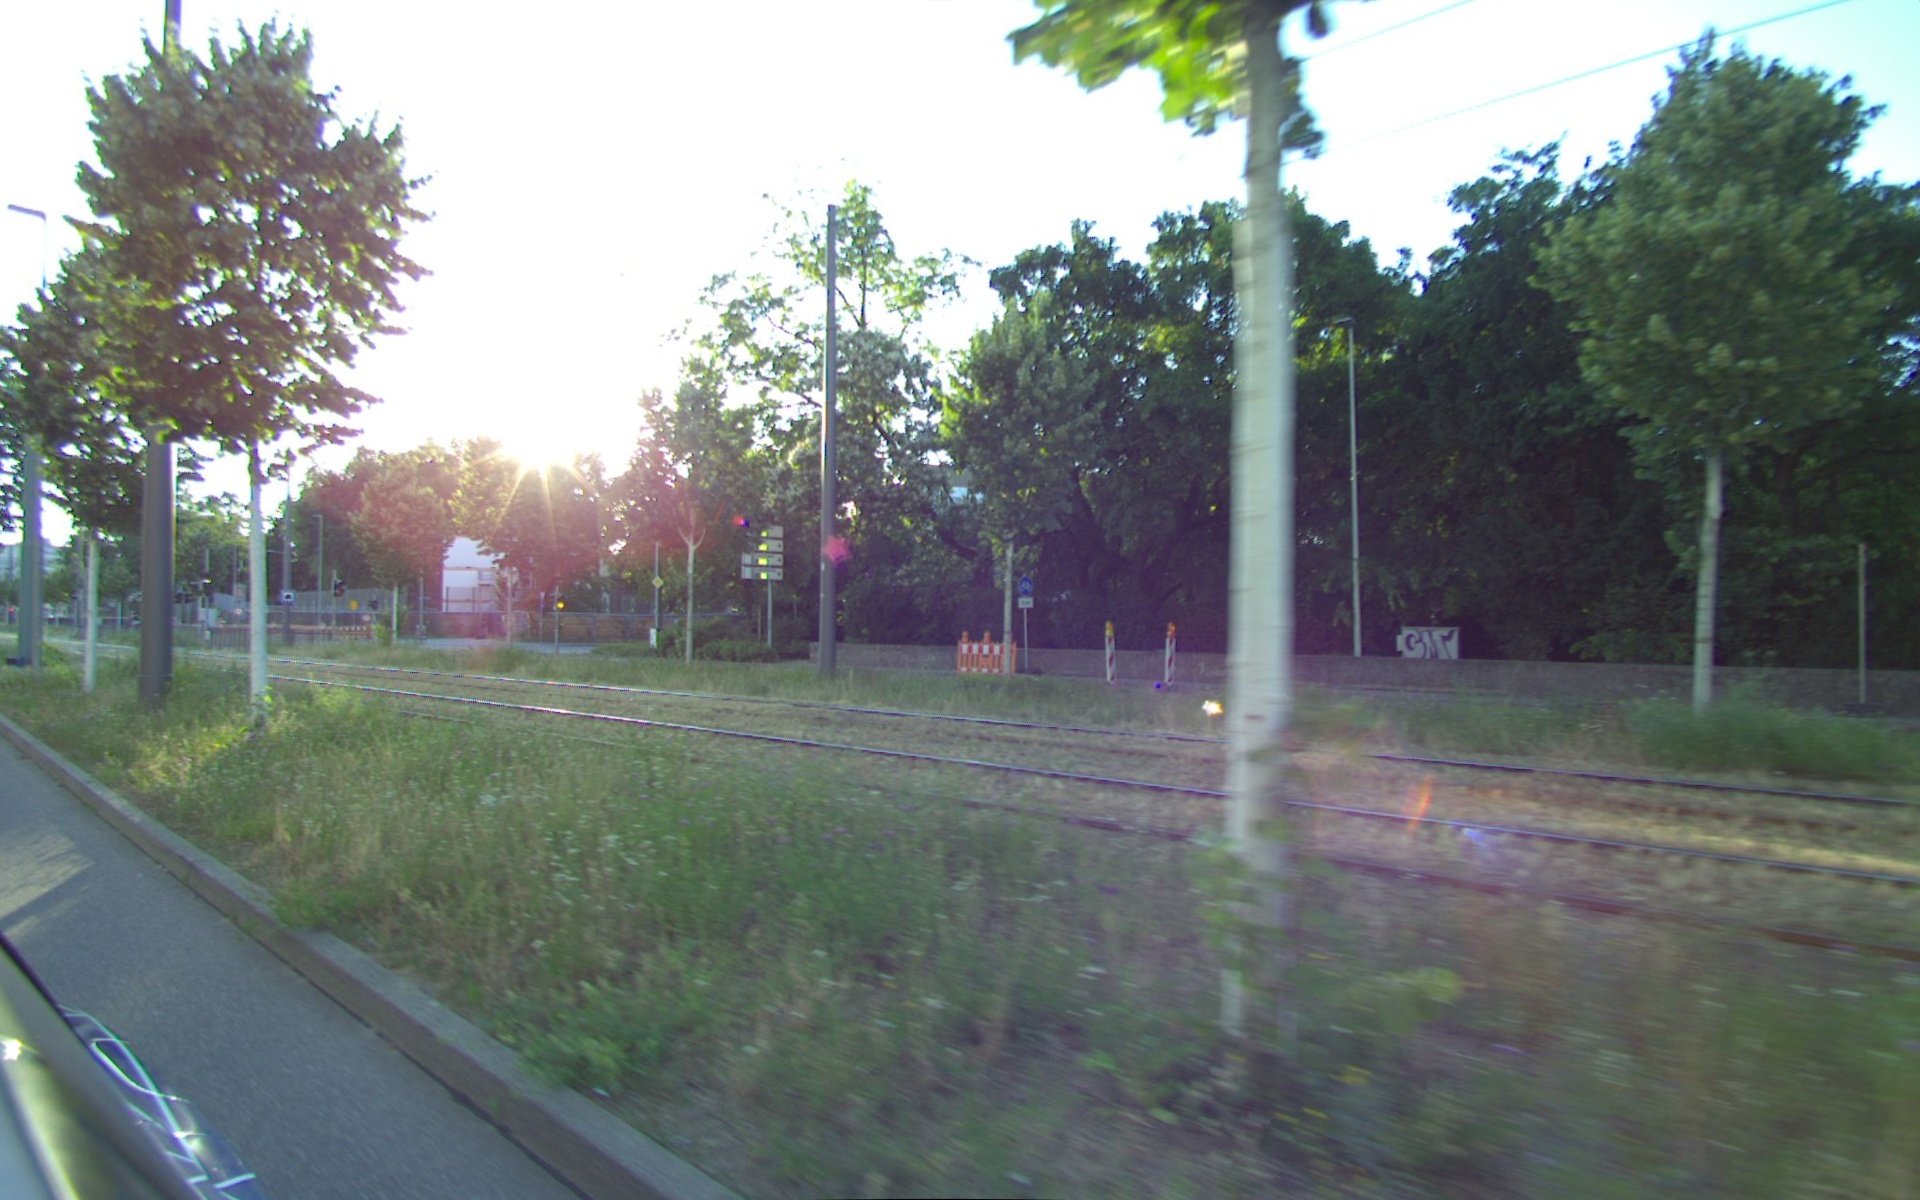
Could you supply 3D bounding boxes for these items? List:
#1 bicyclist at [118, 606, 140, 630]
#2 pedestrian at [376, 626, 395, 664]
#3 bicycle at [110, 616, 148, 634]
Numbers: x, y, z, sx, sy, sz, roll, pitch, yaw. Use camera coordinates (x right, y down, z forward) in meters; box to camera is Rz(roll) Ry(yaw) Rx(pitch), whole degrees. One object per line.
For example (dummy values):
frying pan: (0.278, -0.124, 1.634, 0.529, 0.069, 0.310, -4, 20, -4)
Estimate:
bicyclist: (-56.065, 1.216, 68.285, 0.928, 1.633, 0.719, -1, 0, -17)
pedestrian: (-25.384, 2.004, 44.707, 0.660, 1.620, 0.679, -2, -4, -34)
bicycle: (-56.054, 1.711, 68.285, 1.866, 1.142, 0.719, -1, 0, -17)
